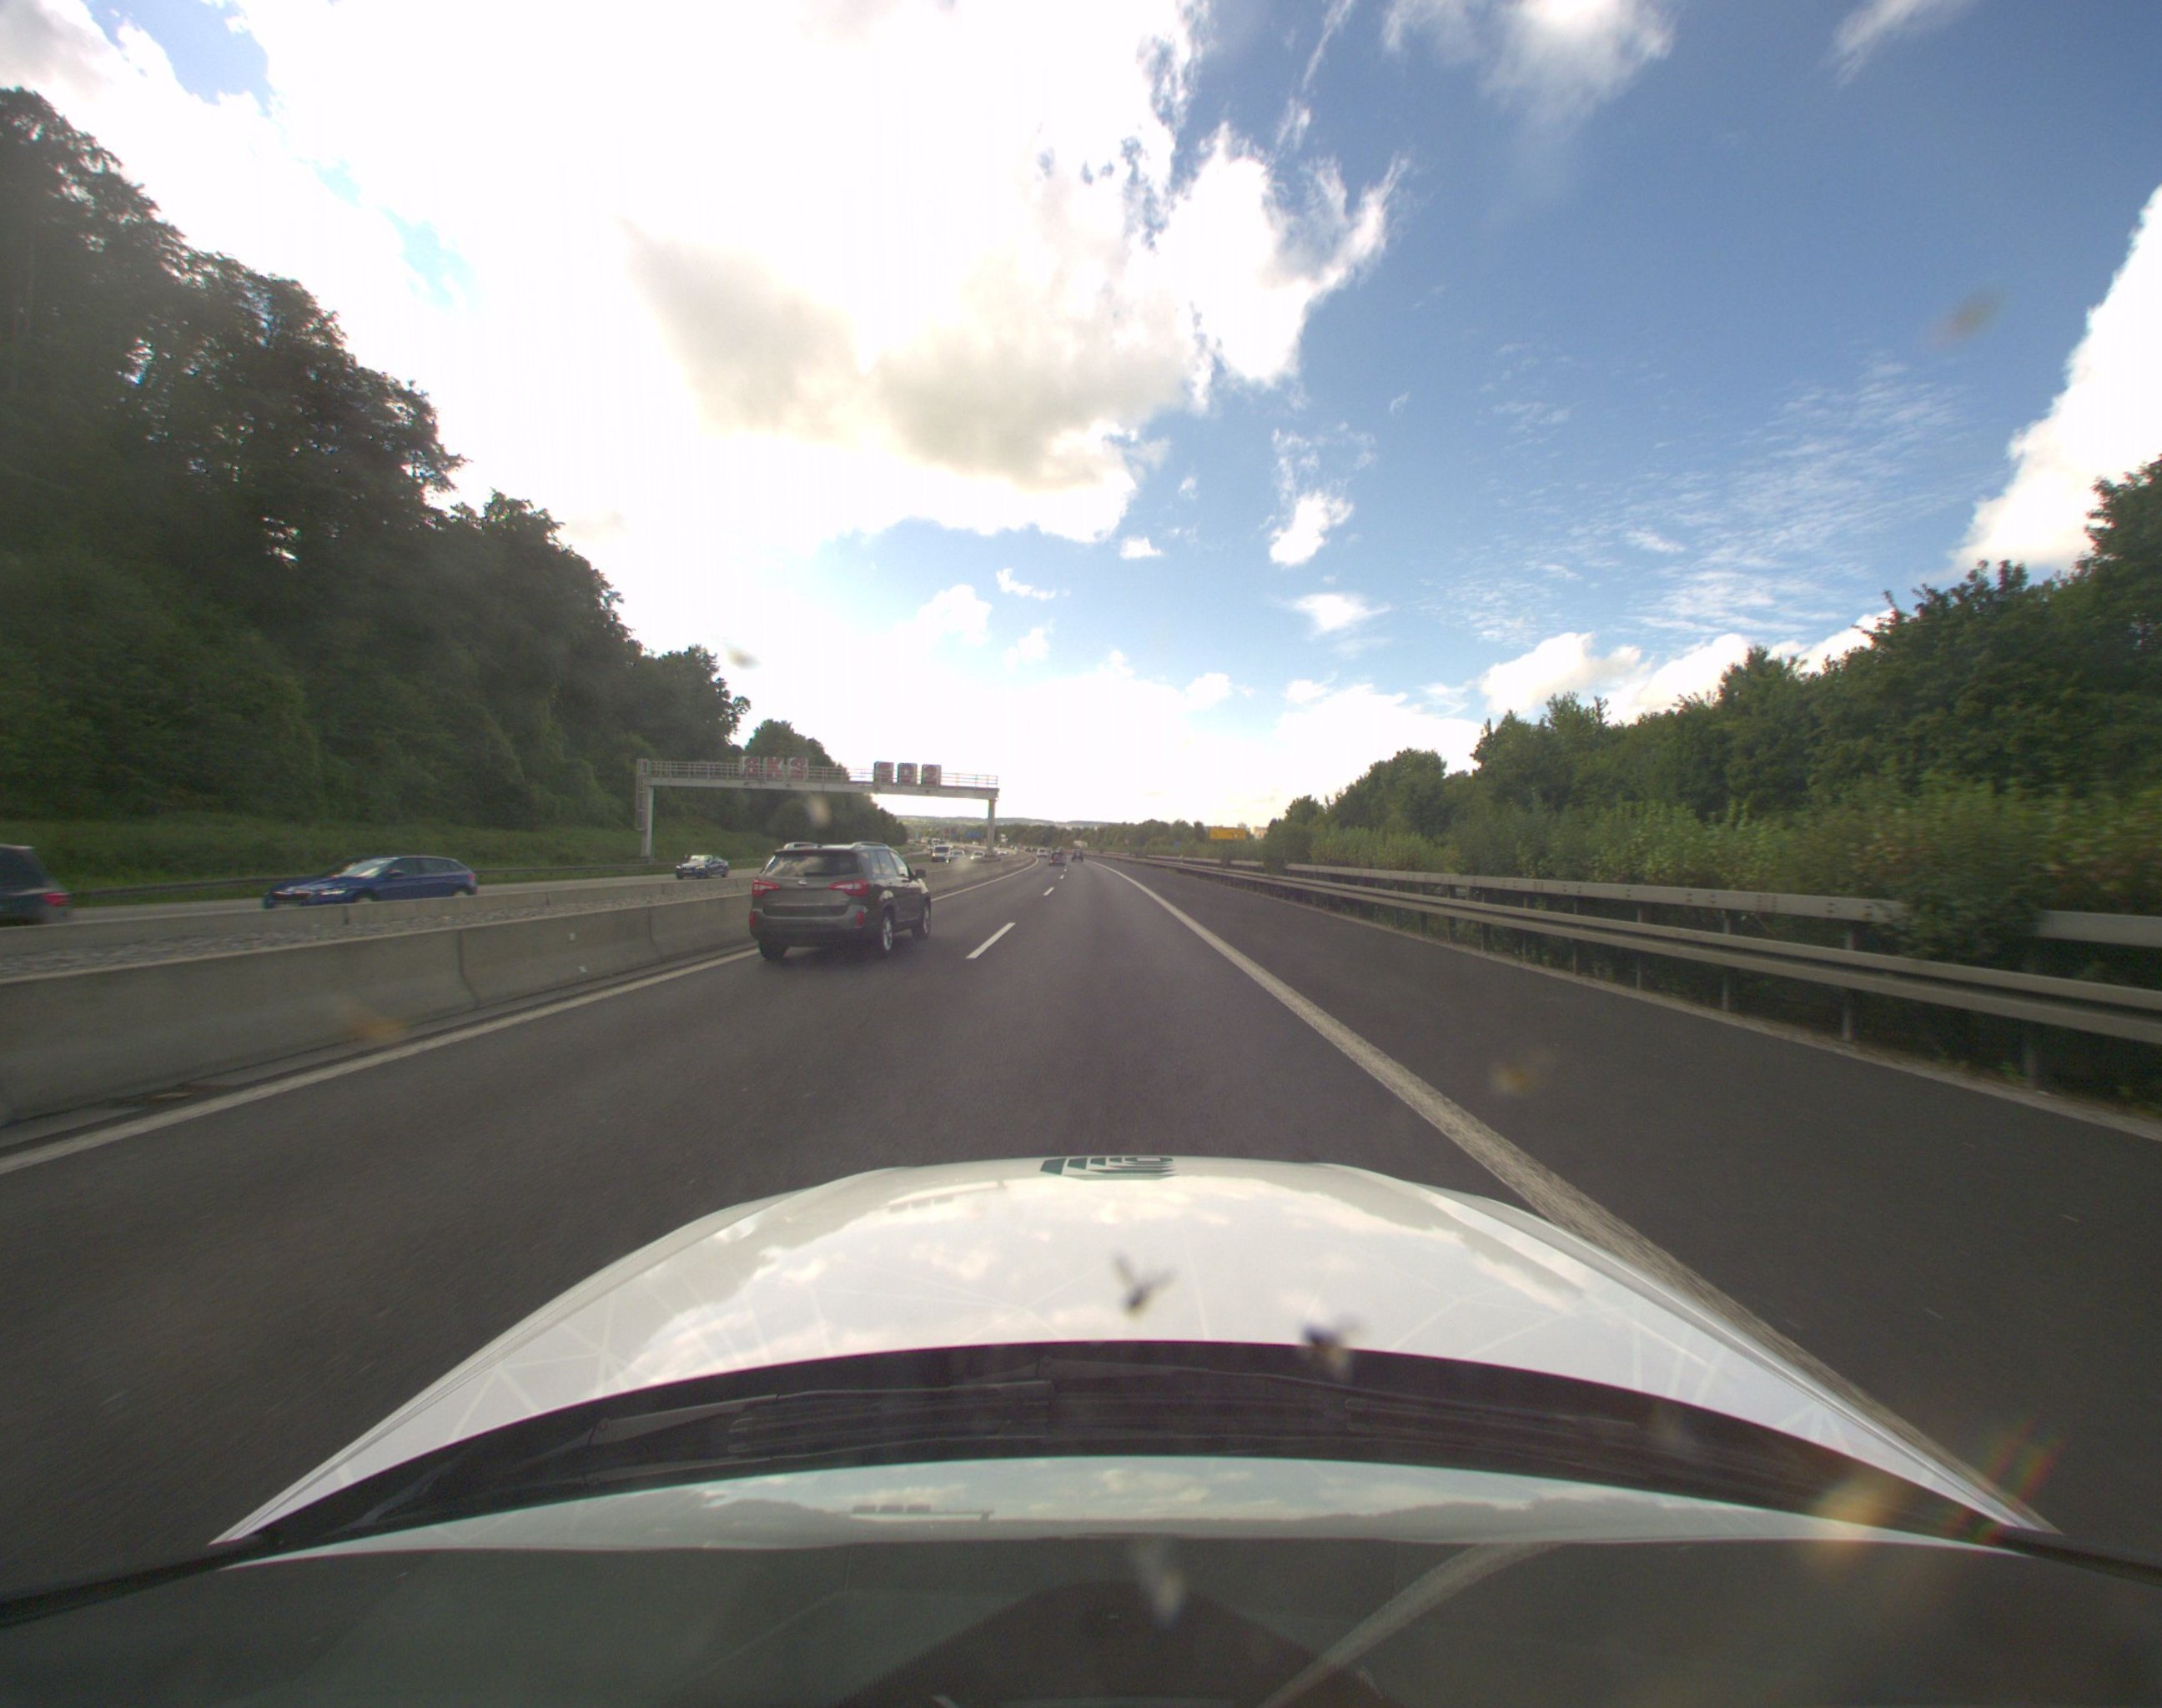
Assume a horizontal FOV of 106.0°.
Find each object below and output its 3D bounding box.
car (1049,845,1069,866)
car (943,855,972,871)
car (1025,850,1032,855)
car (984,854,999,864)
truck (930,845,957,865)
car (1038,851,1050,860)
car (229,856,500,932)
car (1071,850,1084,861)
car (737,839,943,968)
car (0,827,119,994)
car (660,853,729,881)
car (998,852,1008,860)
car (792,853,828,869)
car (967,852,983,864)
[{"bbox_3d":[-2.327,0.146,87.767,2.024,2.151,4.000,0,1,0],"label":"car"},{"bbox_3d":[-12.348,0.840,81.591,1.987,1.536,5.285,0,0,1],"label":"car"},{"bbox_3d":[-16.760,-0.492,258.864,1.606,1.558,3.984,0,-1,-11],"label":"car"},{"bbox_3d":[-14.387,0.747,131.665,1.987,1.641,3.999,0,0,-1],"label":"car"},{"bbox_3d":[-16.125,0.093,95.699,2.176,2.226,5.571,0,0,1],"label":"truck"},{"bbox_3d":[-7.307,0.284,160.267,1.991,1.684,3.992,0,-1,-6],"label":"car"},{"bbox_3d":[-16.404,0.819,19.076,1.985,1.539,4.743,0,0,3],"label":"car"},{"bbox_3d":[-0.526,0.182,117.156,1.584,1.597,4.090,0,1,-4],"label":"car"},{"bbox_3d":[-3.691,0.663,13.578,1.811,1.736,5.187,0,0,1],"label":"car"},{"bbox_3d":[-12.013,0.578,7.152,1.868,1.697,4.318,0,0,3],"label":"car"},{"bbox_3d":[-22.327,0.722,47.276,1.798,1.574,4.559,0,0,1],"label":"car"},{"bbox_3d":[-17.330,0.459,181.525,1.759,1.581,4.930,0,0,-1],"label":"car"},{"bbox_3d":[-23.167,0.604,69.811,1.818,1.311,4.183,0,0,-3],"label":"car"},{"bbox_3d":[-12.922,0.460,99.529,1.561,1.450,3.887,0,0,-1],"label":"car"}]
